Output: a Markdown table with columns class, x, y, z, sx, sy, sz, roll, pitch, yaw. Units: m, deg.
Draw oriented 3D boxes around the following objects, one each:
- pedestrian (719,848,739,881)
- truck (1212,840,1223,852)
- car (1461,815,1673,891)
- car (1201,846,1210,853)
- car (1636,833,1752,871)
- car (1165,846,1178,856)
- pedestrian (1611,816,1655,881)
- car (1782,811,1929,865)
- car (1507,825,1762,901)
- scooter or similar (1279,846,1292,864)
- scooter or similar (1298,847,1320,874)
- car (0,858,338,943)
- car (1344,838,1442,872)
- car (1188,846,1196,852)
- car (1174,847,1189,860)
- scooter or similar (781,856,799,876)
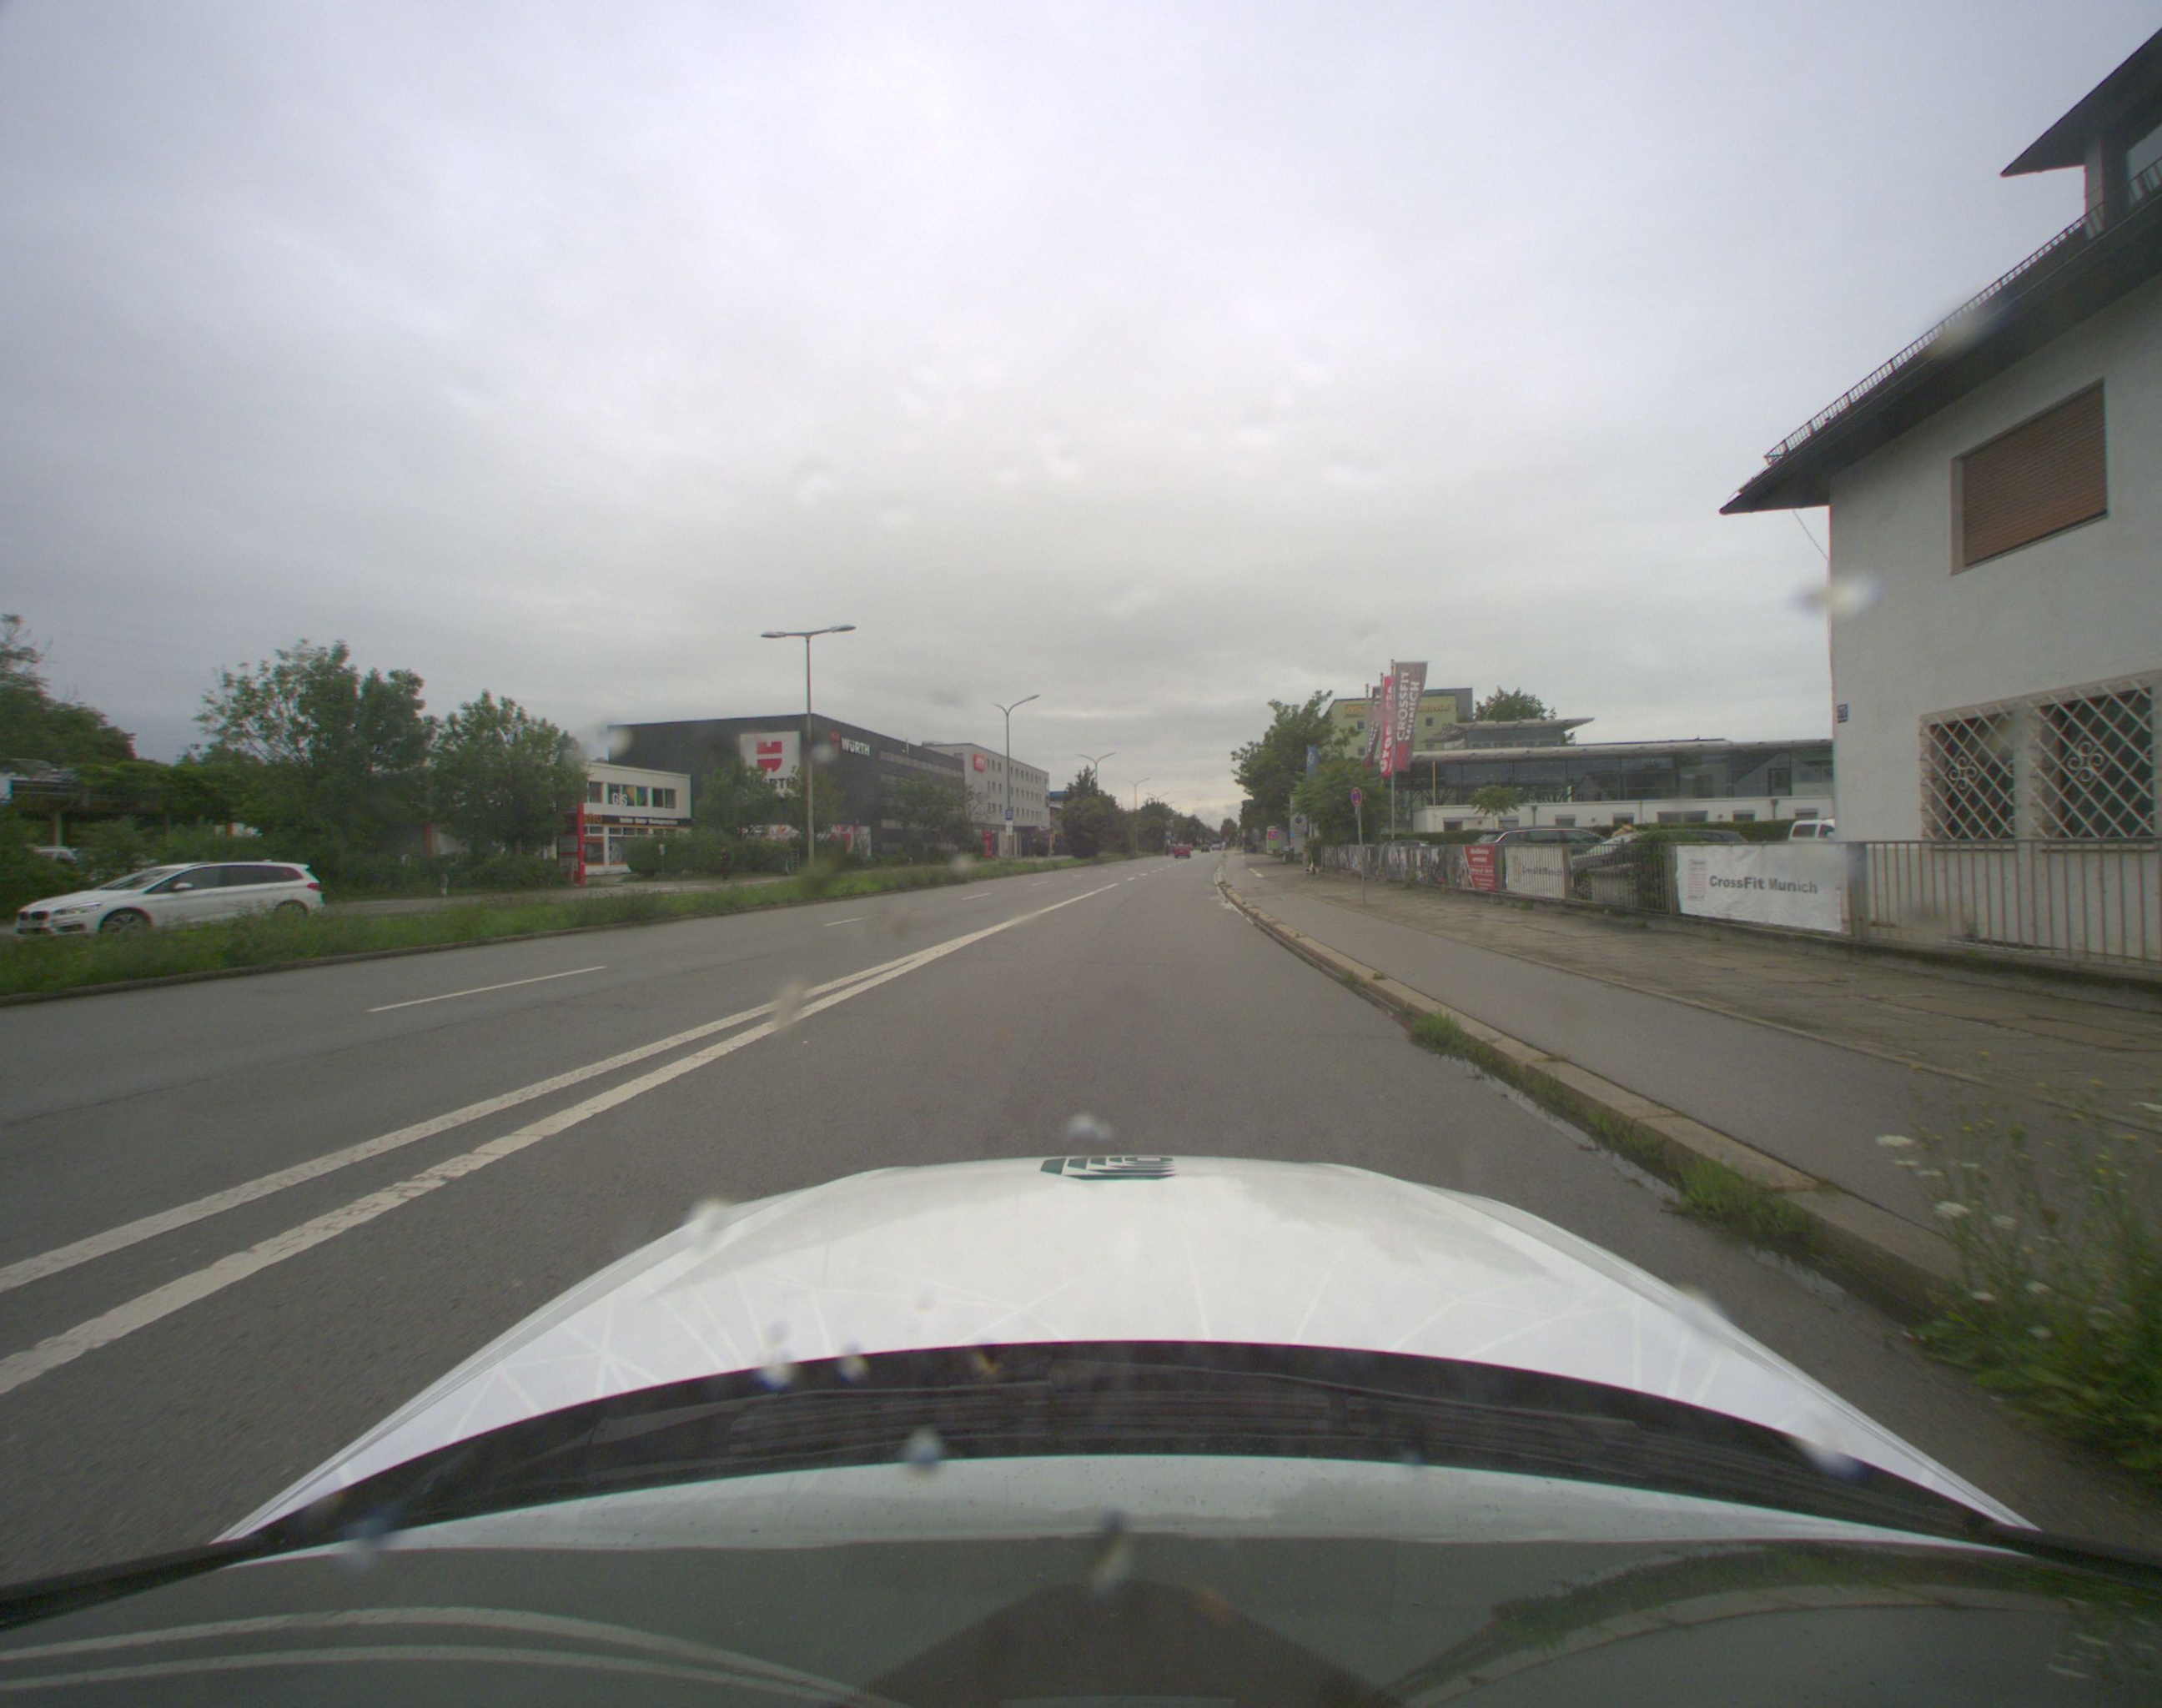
| class | x | y | z | sx | sy | sz | roll | pitch | yaw |
| --- | --- | --- | --- | --- | --- | --- | --- | --- | --- |
| pedestrian | -19.730 | 0.579 | 45.627 | 0.618 | 1.830 | 0.820 | -1 | 0 | 11 |
| truck | 38.753 | -2.356 | 230.616 | 2.951 | 3.285 | 7.936 | -1 | 0 | 9 |
| car | 11.839 | -0.019 | 20.120 | 4.072 | 1.726 | 1.932 | -1 | 0 | 8 |
| car | 26.199 | -0.955 | 170.928 | 1.792 | 1.432 | 4.010 | -1 | 0 | 9 |
| car | 24.646 | -0.091 | 32.989 | 1.908 | 1.387 | 4.633 | -1 | 0 | 11 |
| car | 13.812 | -0.415 | 123.761 | 1.792 | 1.432 | 4.011 | -1 | 0 | 9 |
| pedestrian | 16.585 | -0.176 | 24.501 | 0.729 | 1.901 | 0.933 | -1 | 0 | 6 |
| car | 30.179 | -0.614 | 31.958 | 1.908 | 1.903 | 4.702 | -2 | 0 | 11 |
| car | 11.571 | 0.184 | 17.312 | 4.072 | 1.450 | 1.932 | -1 | 0 | 8 |
| scooter or similar | 14.568 | 0.071 | 58.018 | 0.494 | 1.205 | 1.430 | -4 | 0 | 1 |
| scooter or similar | 10.418 | 0.305 | 37.263 | 0.396 | 1.223 | 1.638 | -4 | -1 | -2 |
| car | -19.506 | 0.905 | 17.743 | 1.981 | 1.572 | 4.588 | -2 | 0 | 11 |
| car | 14.500 | 0.038 | 38.024 | 3.989 | 1.460 | 1.798 | -1 | 0 | 10 |
| car | 28.533 | -1.259 | 209.655 | 1.792 | 1.432 | 4.010 | -1 | 0 | 9 |
| car | 12.603 | -0.101 | 101.848 | 1.852 | 1.618 | 4.009 | -1 | 0 | 8 |
| scooter or similar | -18.942 | 0.784 | 53.050 | 0.443 | 1.227 | 1.391 | -1 | 0 | 9 |
